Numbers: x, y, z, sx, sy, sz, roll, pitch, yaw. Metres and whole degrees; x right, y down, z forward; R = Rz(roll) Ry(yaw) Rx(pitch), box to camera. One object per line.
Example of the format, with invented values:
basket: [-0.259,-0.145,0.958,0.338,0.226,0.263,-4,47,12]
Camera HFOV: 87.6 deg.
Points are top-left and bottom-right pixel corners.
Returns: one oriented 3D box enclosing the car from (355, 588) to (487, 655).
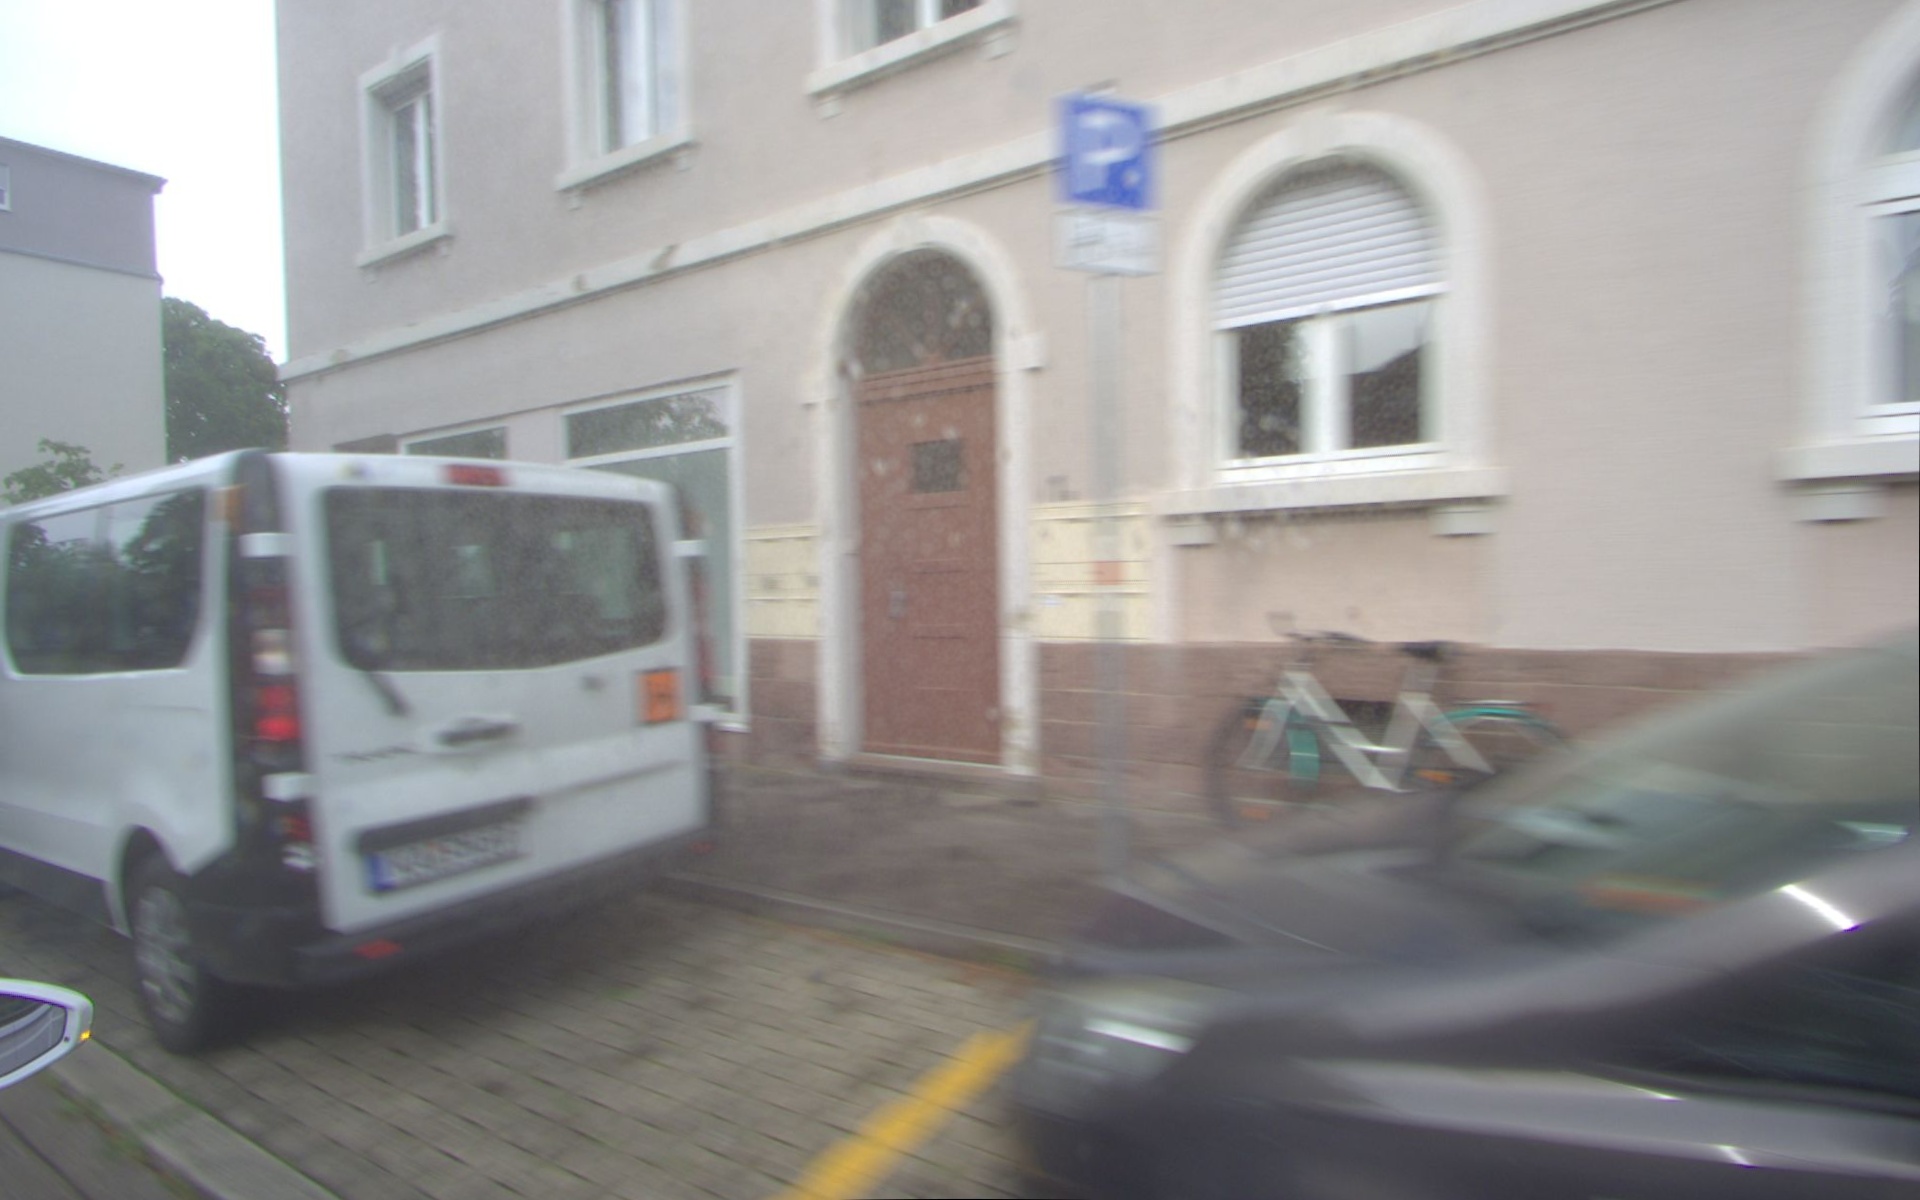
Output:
car: [-14.259,0.509,26.445,3.797,1.599,1.815,1,2,41]

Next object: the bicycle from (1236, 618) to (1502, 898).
bicycle: [1.927,0.697,4.778,1.139,1.198,0.318,0,2,31]

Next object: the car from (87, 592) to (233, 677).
car: [-17.657,0.680,22.043,4.307,1.587,1.825,2,3,42]

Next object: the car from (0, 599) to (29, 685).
car: [-19.772,0.791,19.639,4.507,1.484,1.825,2,3,42]

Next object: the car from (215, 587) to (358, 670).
car: [-16.049,0.589,23.803,4.021,1.721,1.900,2,3,42]

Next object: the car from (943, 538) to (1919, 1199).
car: [2.064,0.658,1.200,3.842,1.474,1.684,1,4,30]

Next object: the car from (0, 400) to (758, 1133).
car: [-3.458,0.409,4.885,4.941,2.024,1.873,1,3,33]
